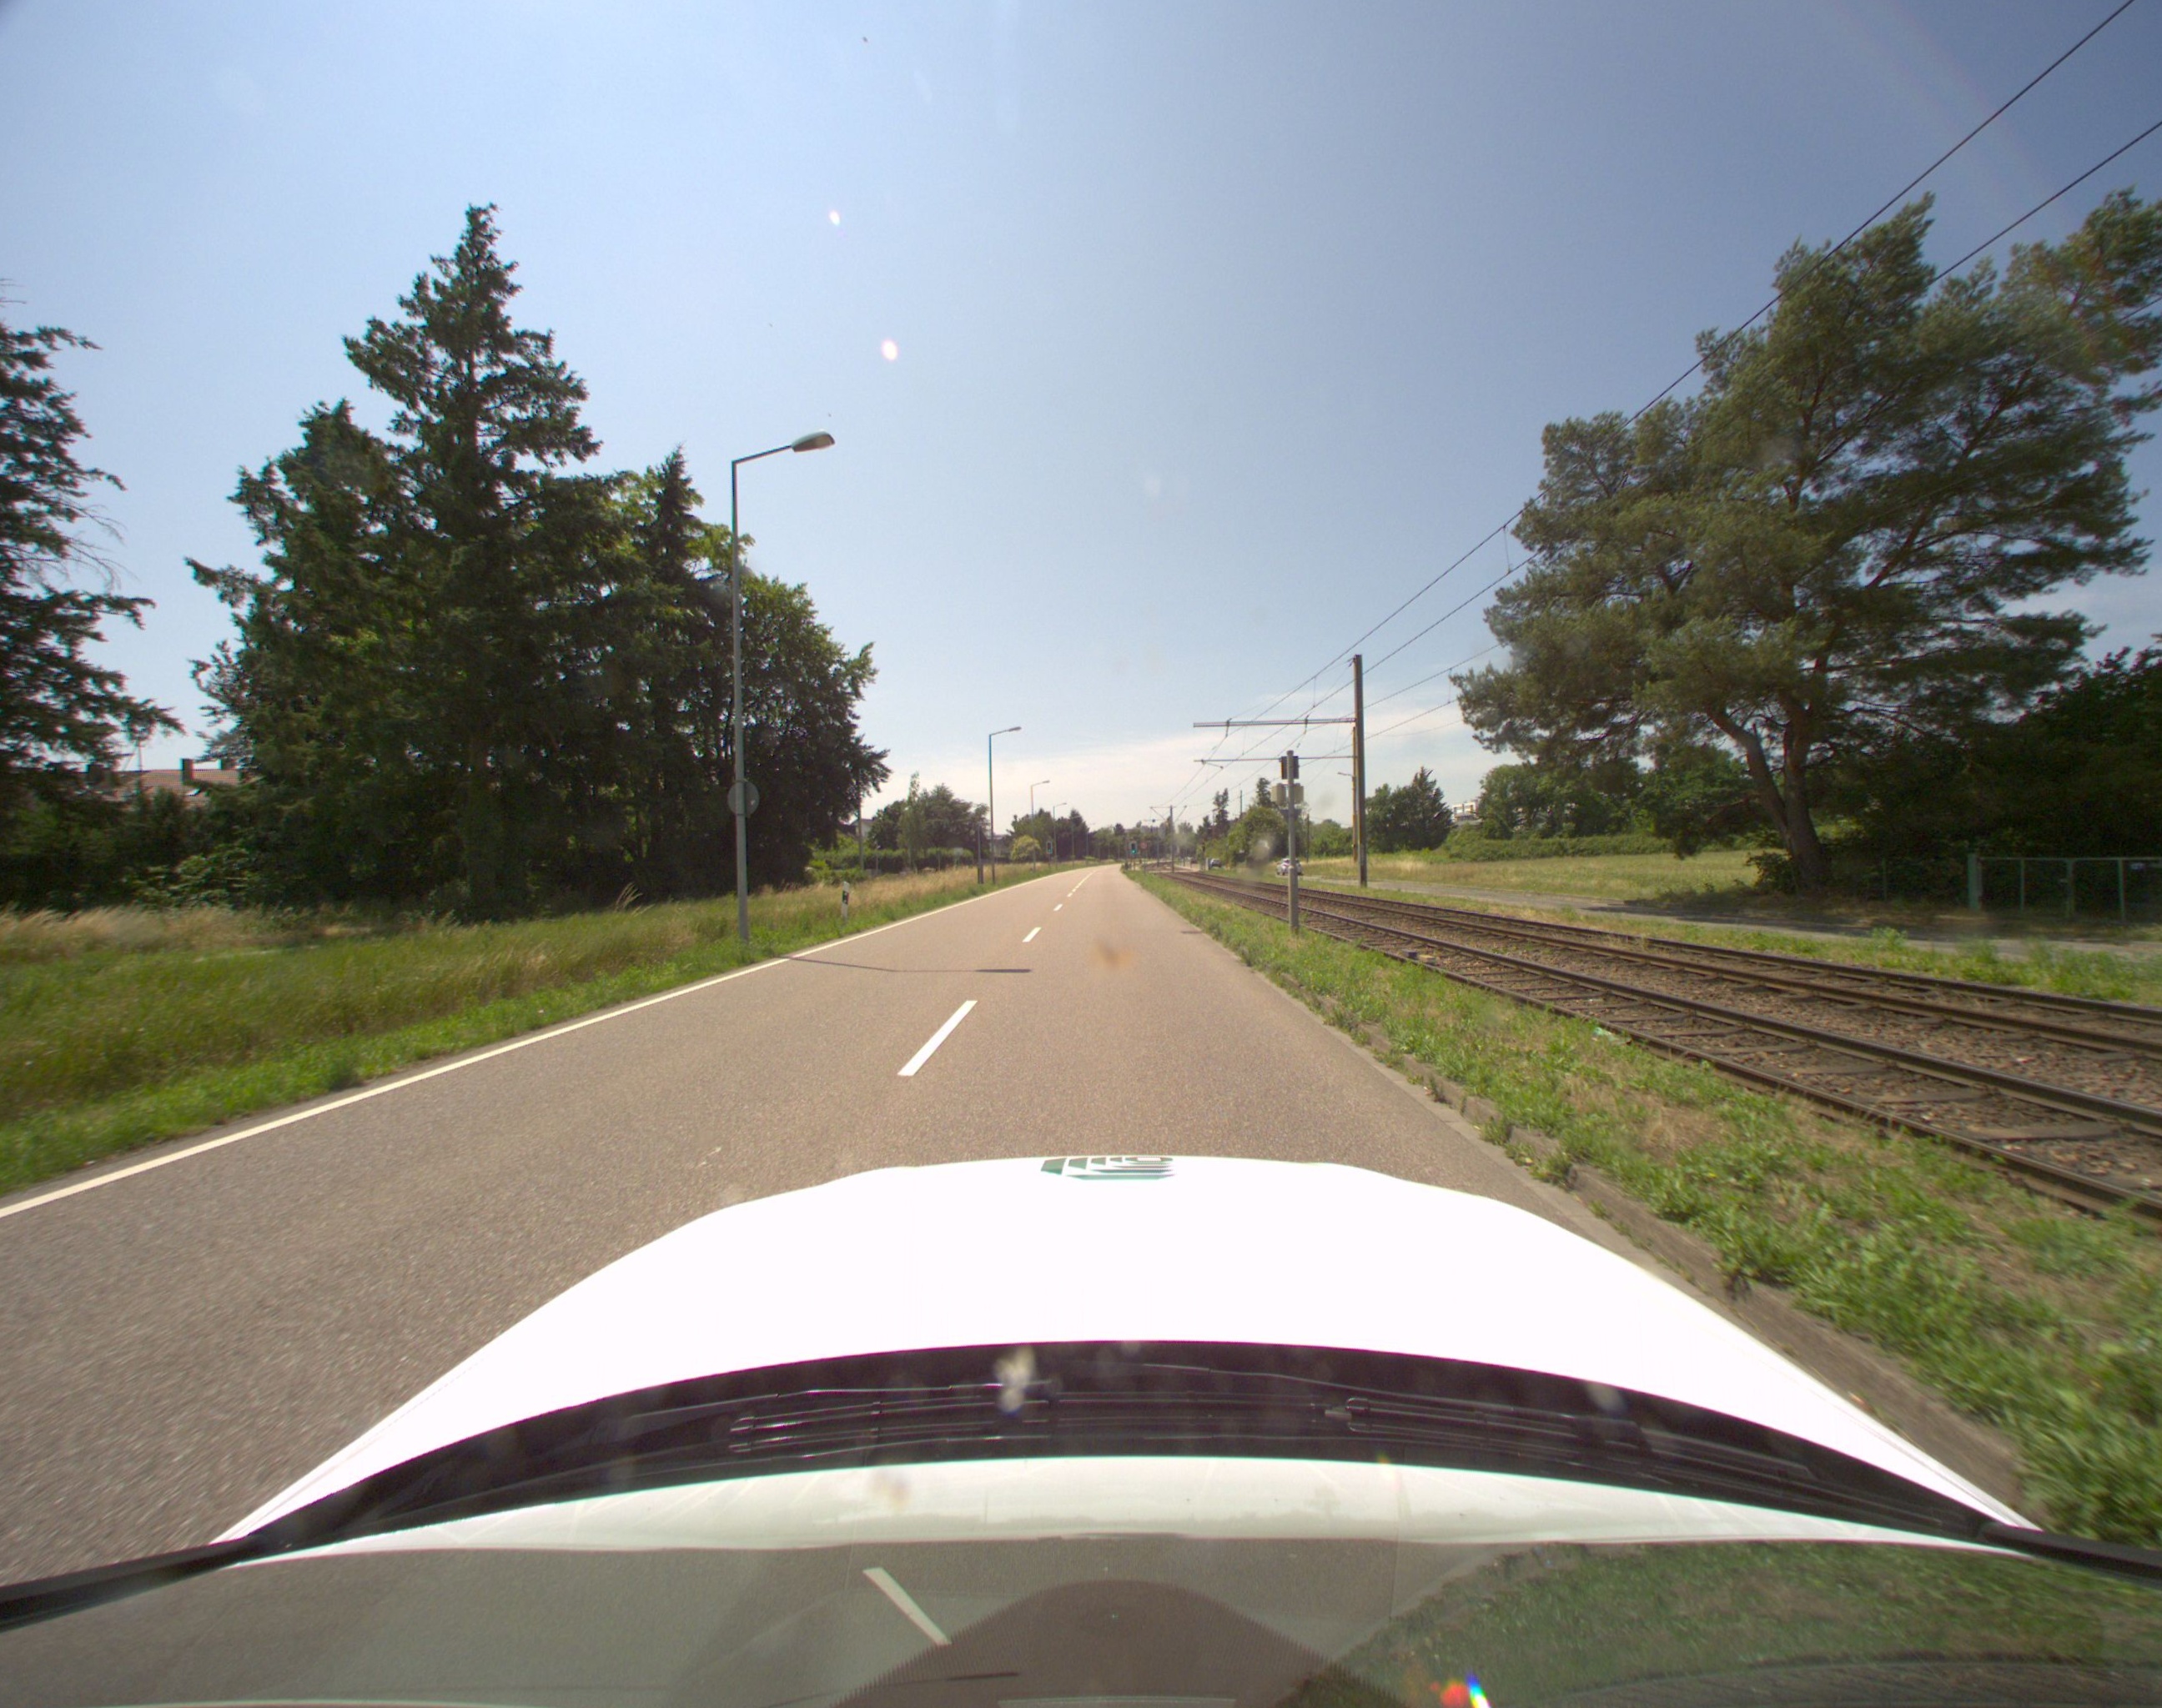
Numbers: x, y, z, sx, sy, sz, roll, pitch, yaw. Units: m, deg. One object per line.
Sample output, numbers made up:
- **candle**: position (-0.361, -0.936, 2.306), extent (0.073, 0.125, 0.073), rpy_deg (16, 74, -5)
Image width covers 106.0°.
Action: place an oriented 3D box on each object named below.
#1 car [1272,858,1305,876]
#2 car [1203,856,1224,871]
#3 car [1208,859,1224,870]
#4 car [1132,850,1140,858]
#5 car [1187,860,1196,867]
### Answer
- **car**: position (18.441, 1.145, 72.398), extent (1.986, 1.508, 4.001), rpy_deg (-2, -1, 1)
- **car**: position (14.604, 1.024, 90.142), extent (1.738, 1.559, 4.001), rpy_deg (-2, -1, 2)
- **car**: position (21.248, 1.612, 128.036), extent (1.908, 1.662, 4.001), rpy_deg (-2, -1, 2)
- **car**: position (12.303, 0.057, 182.875), extent (1.546, 1.585, 3.570), rpy_deg (-2, -1, 2)
- **car**: position (29.353, 2.584, 216.427), extent (1.751, 1.750, 4.001), rpy_deg (-2, -1, 2)
